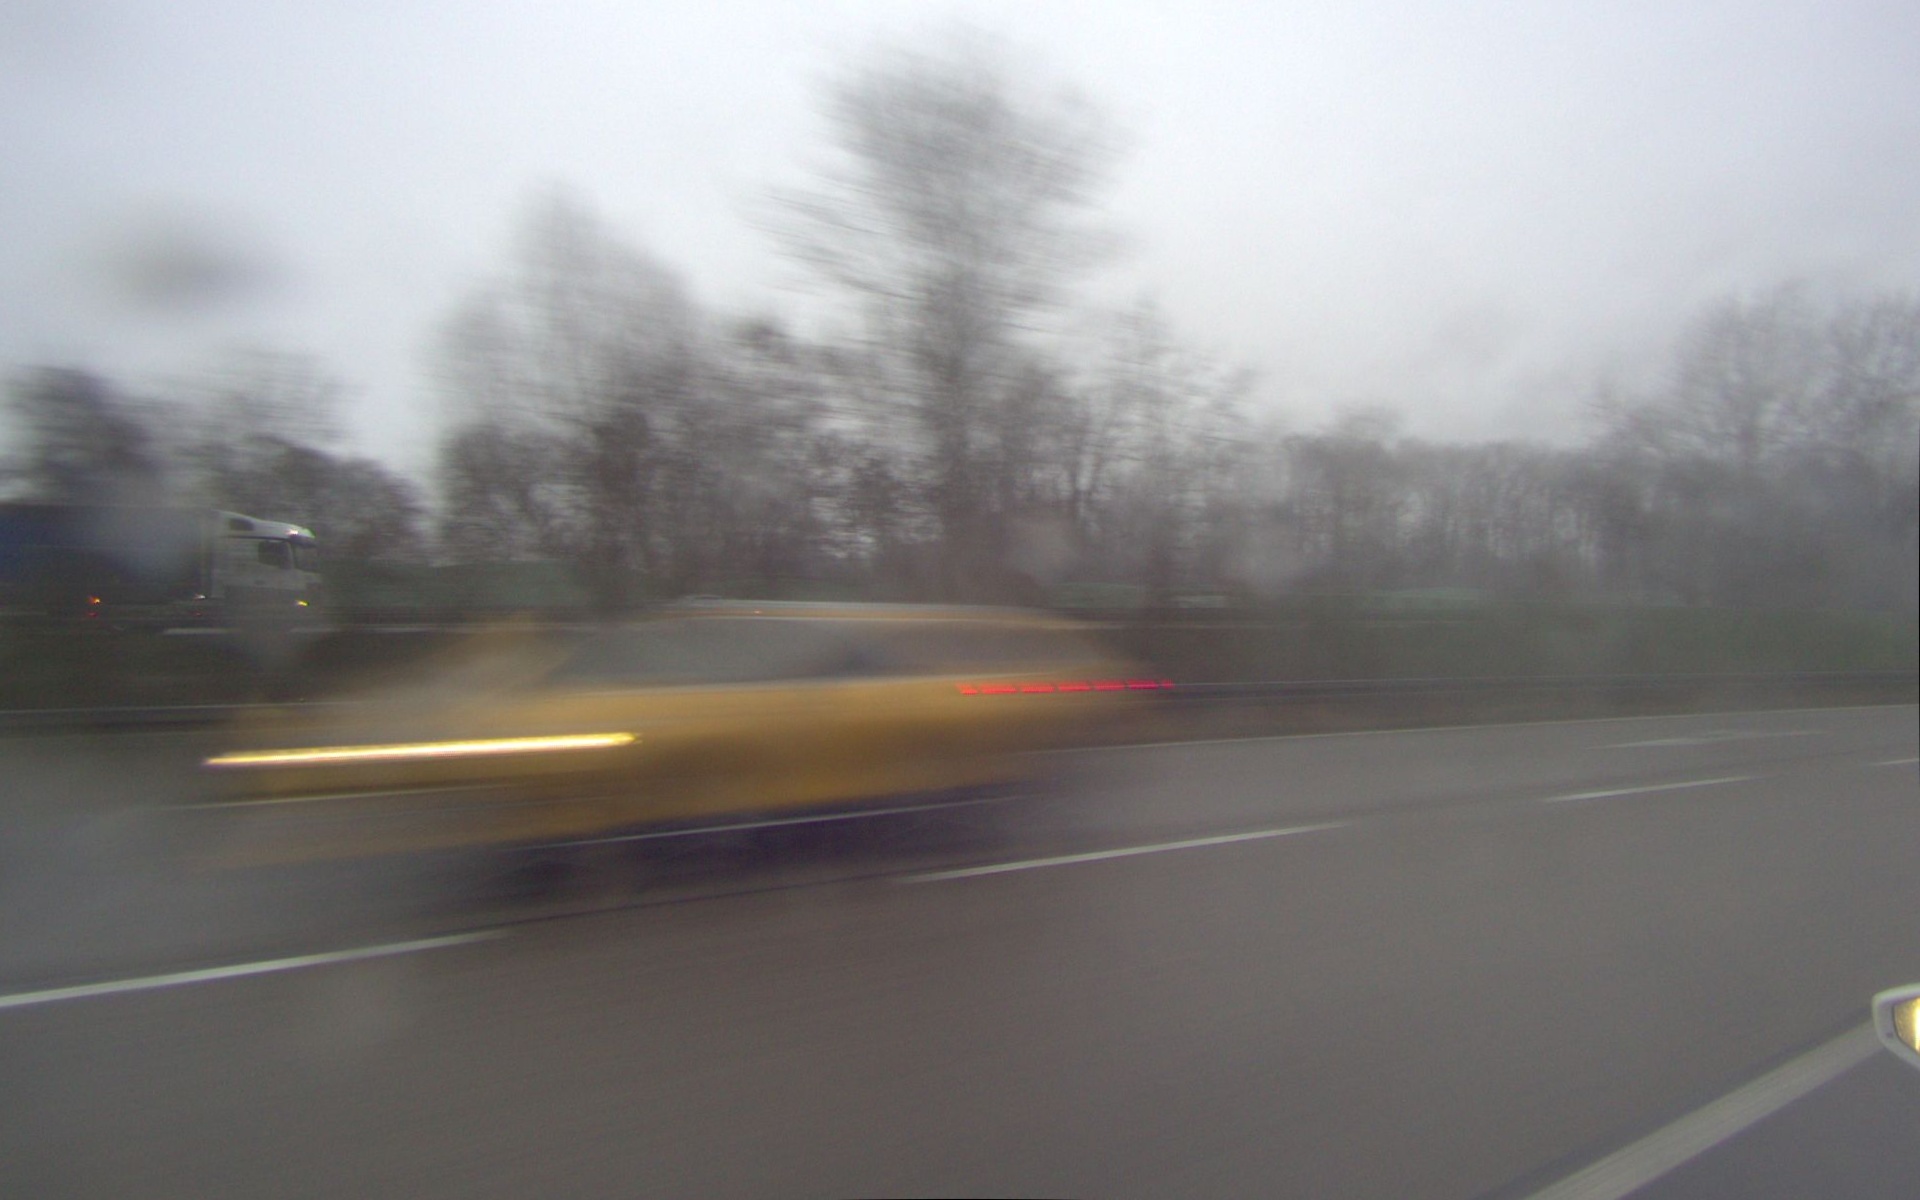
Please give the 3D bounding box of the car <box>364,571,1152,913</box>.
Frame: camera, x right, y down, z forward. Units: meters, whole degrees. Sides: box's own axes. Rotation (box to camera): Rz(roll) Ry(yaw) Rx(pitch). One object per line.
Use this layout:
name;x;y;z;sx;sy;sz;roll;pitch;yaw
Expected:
car;-1.123;0.693;6.380;4.467;1.521;1.856;1;-1;-29

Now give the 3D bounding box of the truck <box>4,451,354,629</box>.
truck;-25.585;-1.764;33.573;8.385;5.197;3.273;2;-2;-18

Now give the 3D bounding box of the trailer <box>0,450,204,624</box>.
trailer;-32.185;-2.056;31.439;13.018;5.170;3.301;2;-2;-17
